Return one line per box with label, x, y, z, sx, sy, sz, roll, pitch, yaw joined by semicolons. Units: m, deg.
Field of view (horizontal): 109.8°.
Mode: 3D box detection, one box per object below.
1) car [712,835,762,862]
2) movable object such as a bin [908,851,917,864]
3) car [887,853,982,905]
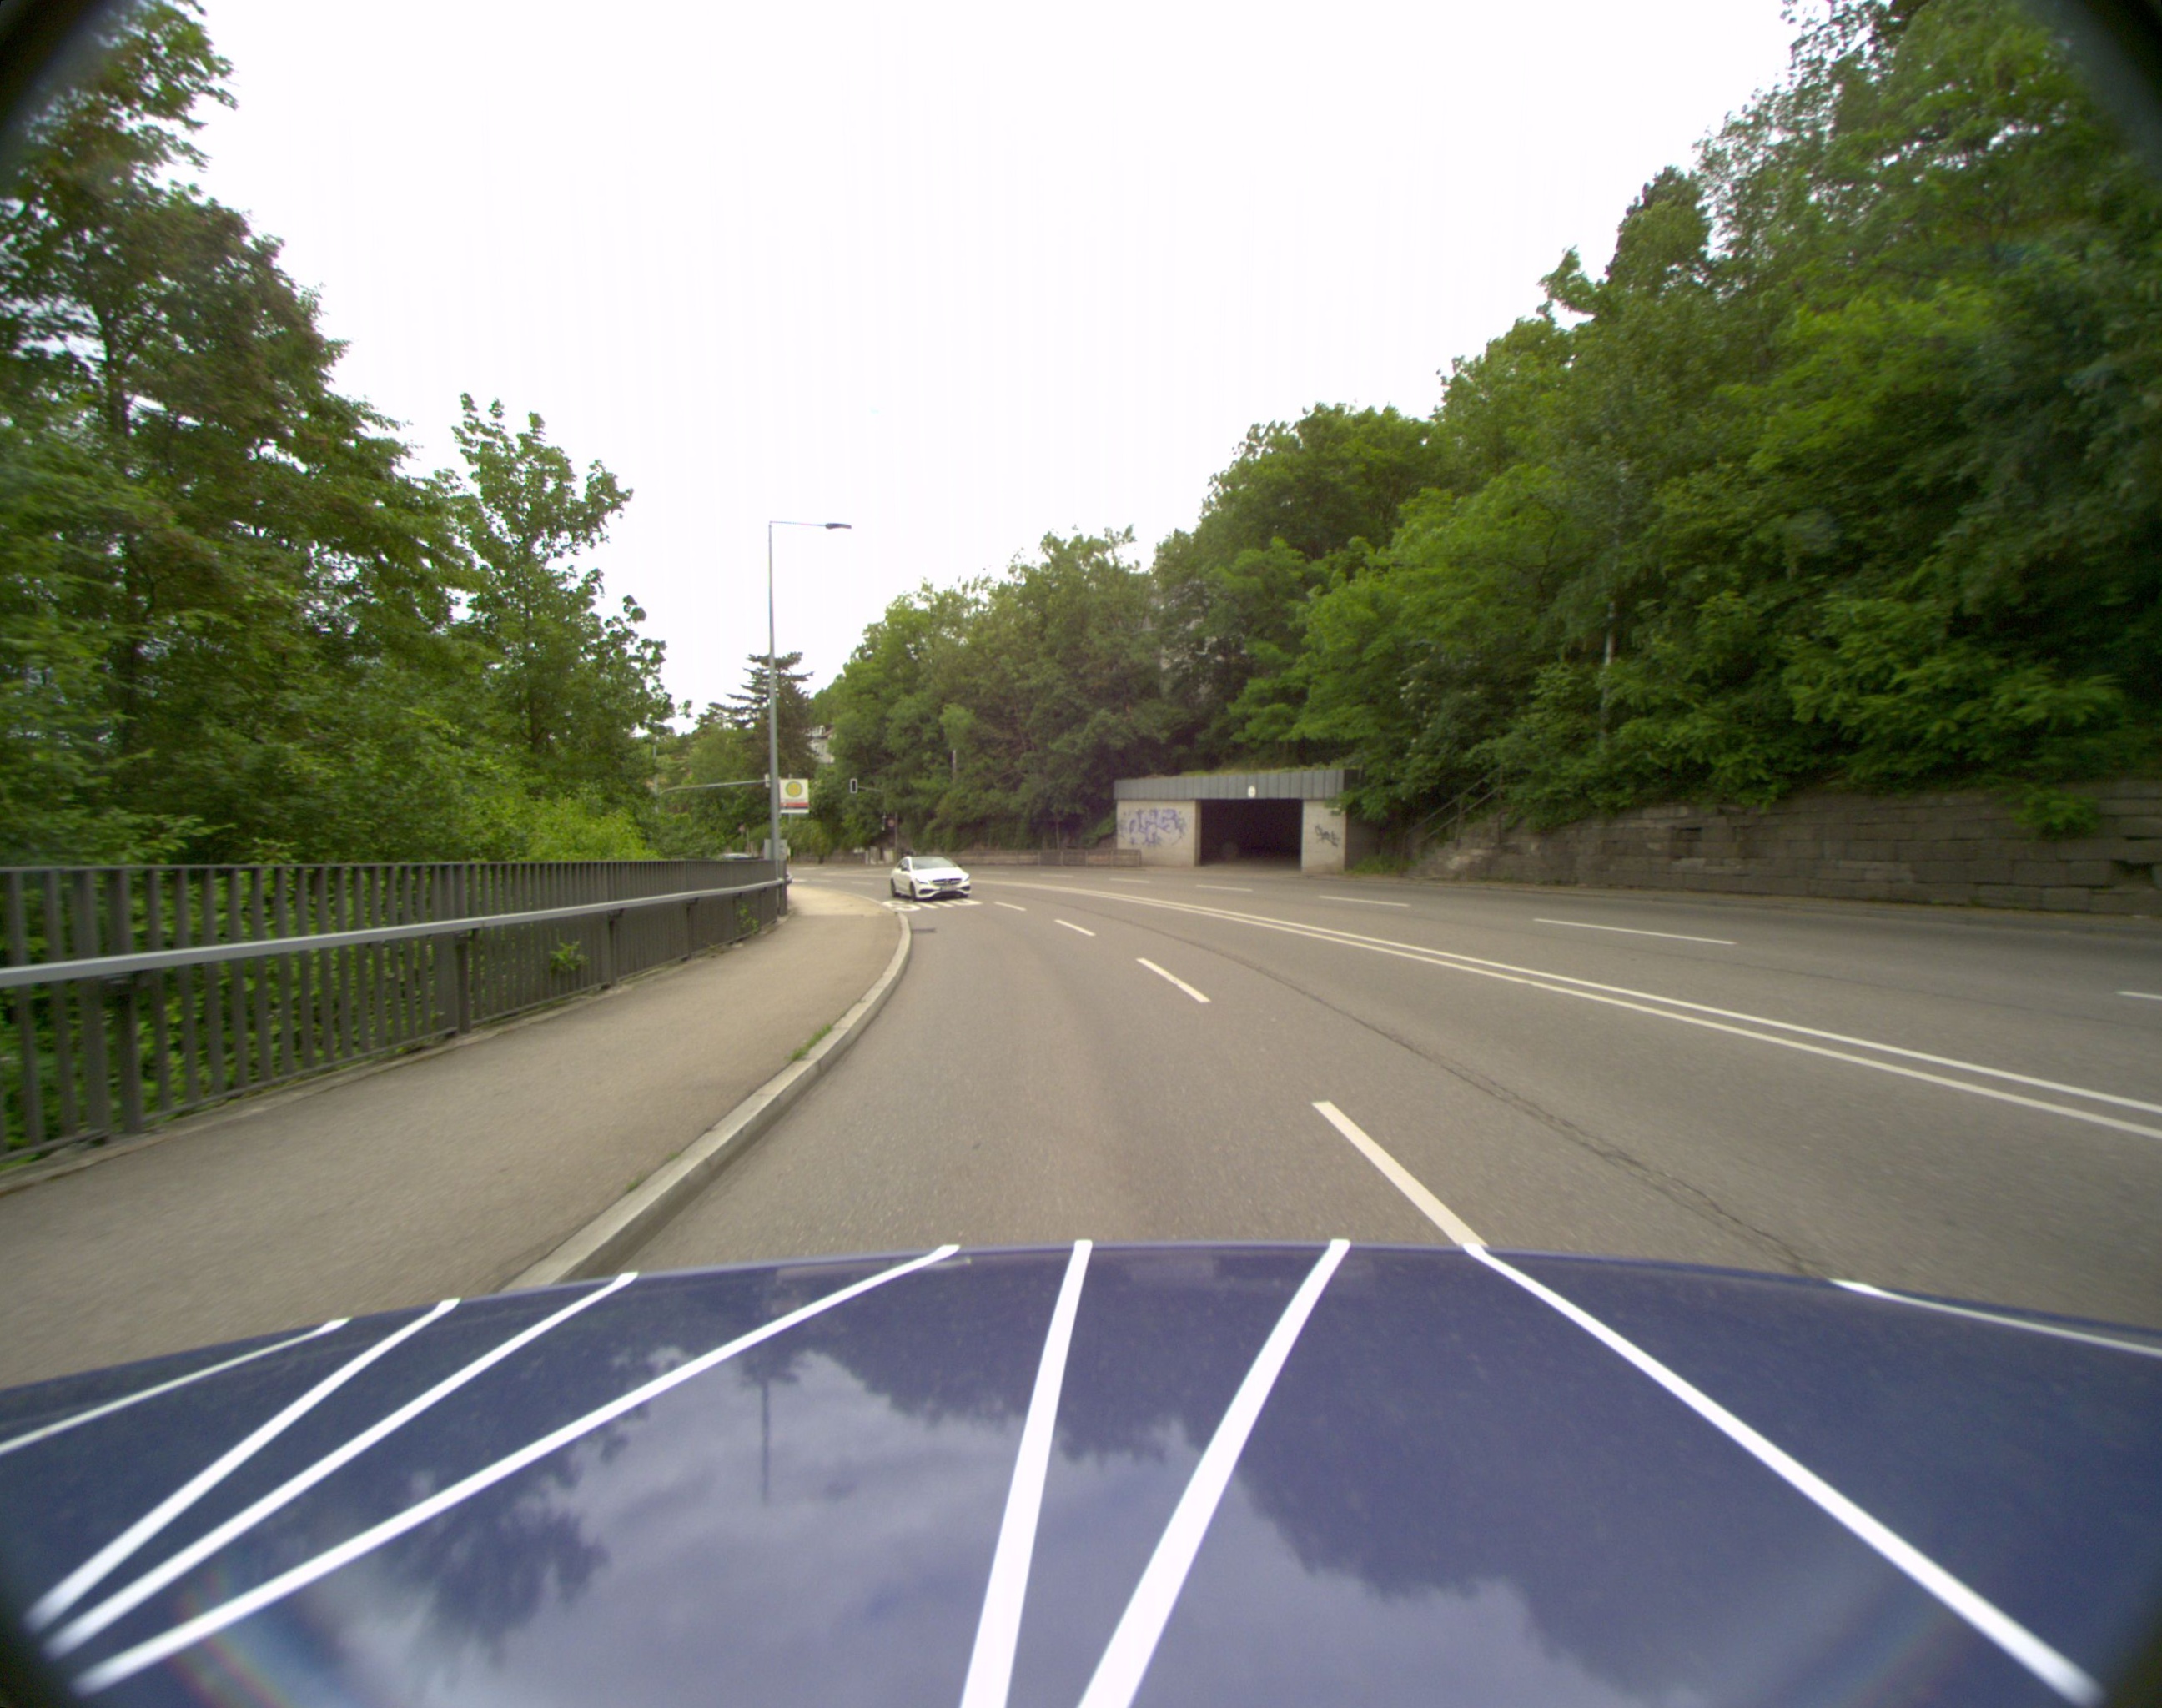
car;-22.983;-0.379;50.693;2.003;1.581;3.989;-6;4;-38
movable object such as a bin;-12.223;0.251;55.104;0.429;0.945;0.477;-7;5;-40
car;-4.909;0.768;25.032;1.907;1.419;4.256;-5;2;-27
